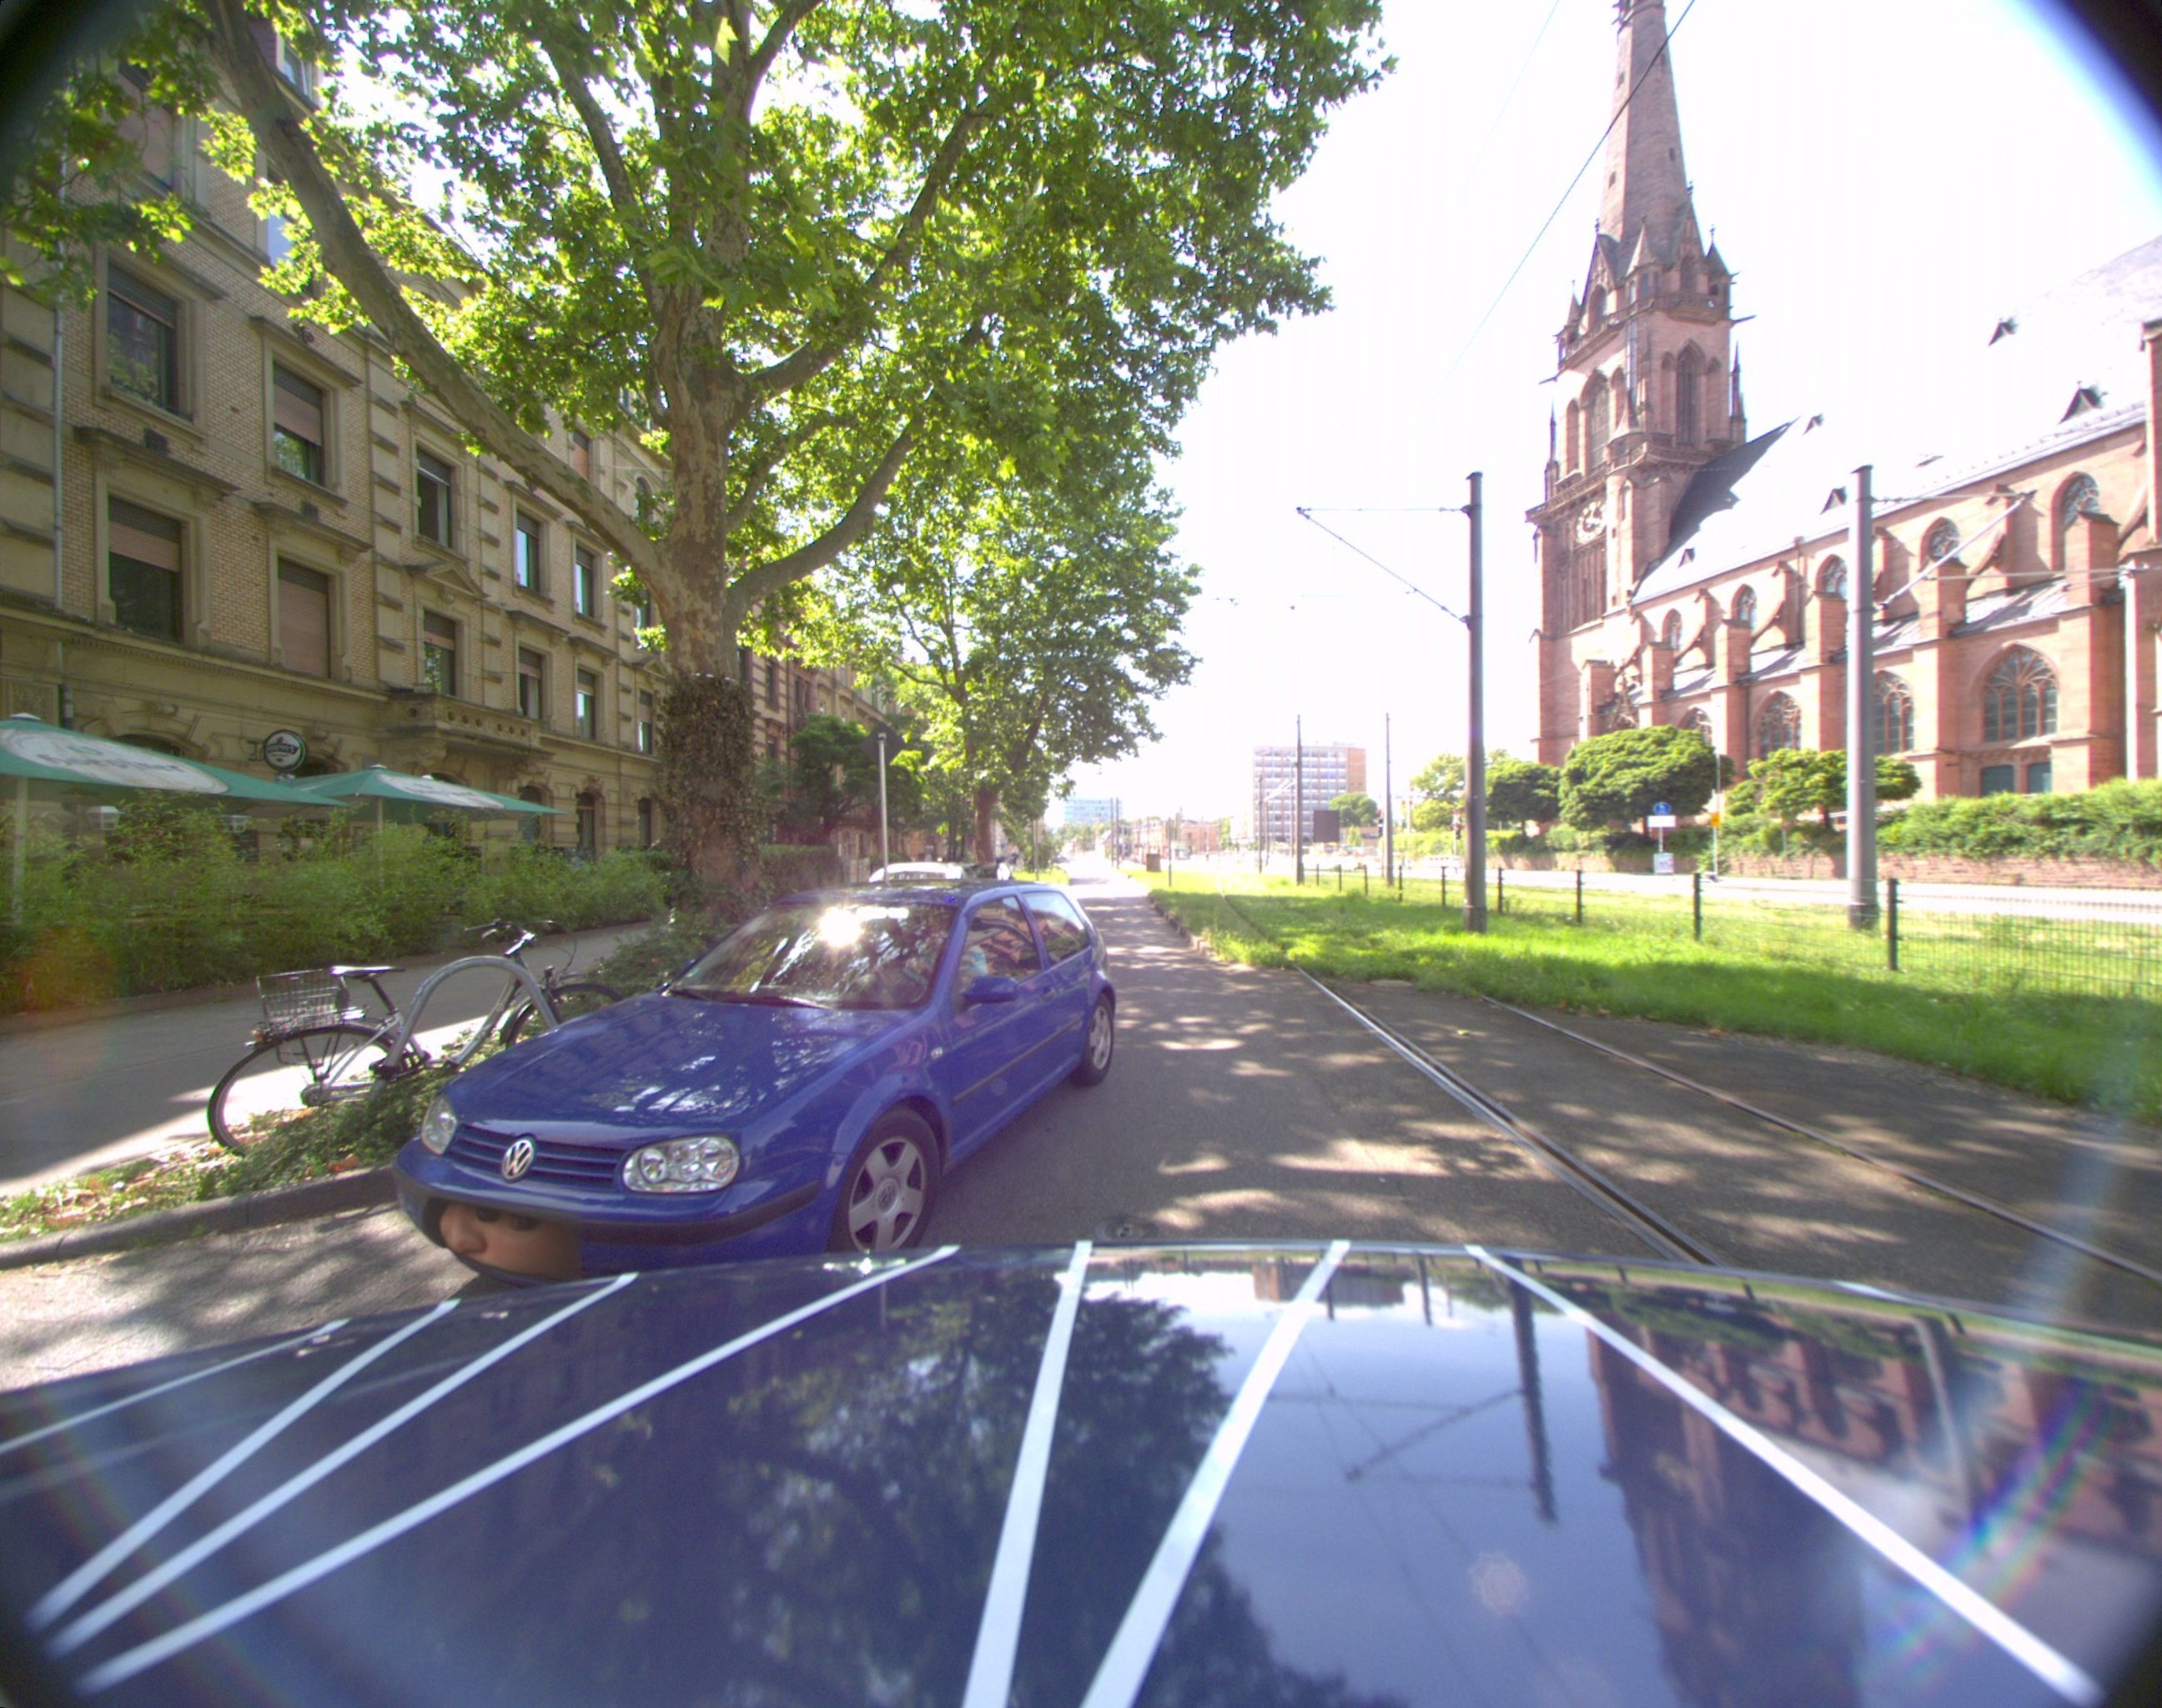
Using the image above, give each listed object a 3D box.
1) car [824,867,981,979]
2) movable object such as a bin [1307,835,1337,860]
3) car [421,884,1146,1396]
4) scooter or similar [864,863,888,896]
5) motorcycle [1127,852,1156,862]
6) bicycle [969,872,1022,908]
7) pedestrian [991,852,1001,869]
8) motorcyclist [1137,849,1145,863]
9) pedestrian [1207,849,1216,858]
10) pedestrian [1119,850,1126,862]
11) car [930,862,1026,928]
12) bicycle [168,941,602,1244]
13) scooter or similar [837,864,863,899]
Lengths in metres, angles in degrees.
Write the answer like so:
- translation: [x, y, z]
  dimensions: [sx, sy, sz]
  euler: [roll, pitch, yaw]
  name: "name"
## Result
- translation: [-2.857, 1.033, 13.161]
  dimensions: [1.838, 1.499, 4.490]
  euler: [0, 0, -3]
  name: "car"
- translation: [37.687, -0.945, 118.858]
  dimensions: [3.340, 3.859, 2.932]
  euler: [-1, 1, -33]
  name: "movable object such as a bin"
- translation: [-0.982, 0.977, 4.571]
  dimensions: [1.884, 1.401, 4.098]
  euler: [-1, 0, 17]
  name: "car"
- translation: [-8.263, 1.013, 30.605]
  dimensions: [0.583, 1.275, 1.145]
  euler: [0, 0, 3]
  name: "scooter or similar"
- translation: [8.445, 0.453, 106.087]
  dimensions: [3.934, 1.331, 1.245]
  euler: [-1, 1, 2]
  name: "motorcycle"
- translation: [-2.712, 1.136, 24.200]
  dimensions: [1.641, 1.082, 0.470]
  euler: [-1, 1, -32]
  name: "bicycle"
- translation: [-8.363, 0.641, 74.793]
  dimensions: [0.797, 1.708, 0.967]
  euler: [-1, 1, 0]
  name: "pedestrian"
- translation: [8.378, 0.229, 106.068]
  dimensions: [1.107, 1.919, 1.333]
  euler: [-1, 1, 3]
  name: "motorcyclist"
- translation: [24.492, -0.103, 142.309]
  dimensions: [1.426, 1.796, 1.422]
  euler: [-1, 1, -3]
  name: "pedestrian"
- translation: [5.602, 0.311, 103.241]
  dimensions: [0.850, 1.644, 1.128]
  euler: [-1, 1, 1]
  name: "pedestrian"
- translation: [-2.613, 0.990, 20.359]
  dimensions: [1.838, 1.499, 4.643]
  euler: [0, 0, 1]
  name: "car"
- translation: [-3.515, 1.104, 4.024]
  dimensions: [0.421, 1.099, 1.619]
  euler: [0, 1, 31]
  name: "bicycle"
- translation: [-8.461, 1.009, 27.884]
  dimensions: [0.583, 1.240, 1.145]
  euler: [-1, 0, 1]
  name: "scooter or similar"
